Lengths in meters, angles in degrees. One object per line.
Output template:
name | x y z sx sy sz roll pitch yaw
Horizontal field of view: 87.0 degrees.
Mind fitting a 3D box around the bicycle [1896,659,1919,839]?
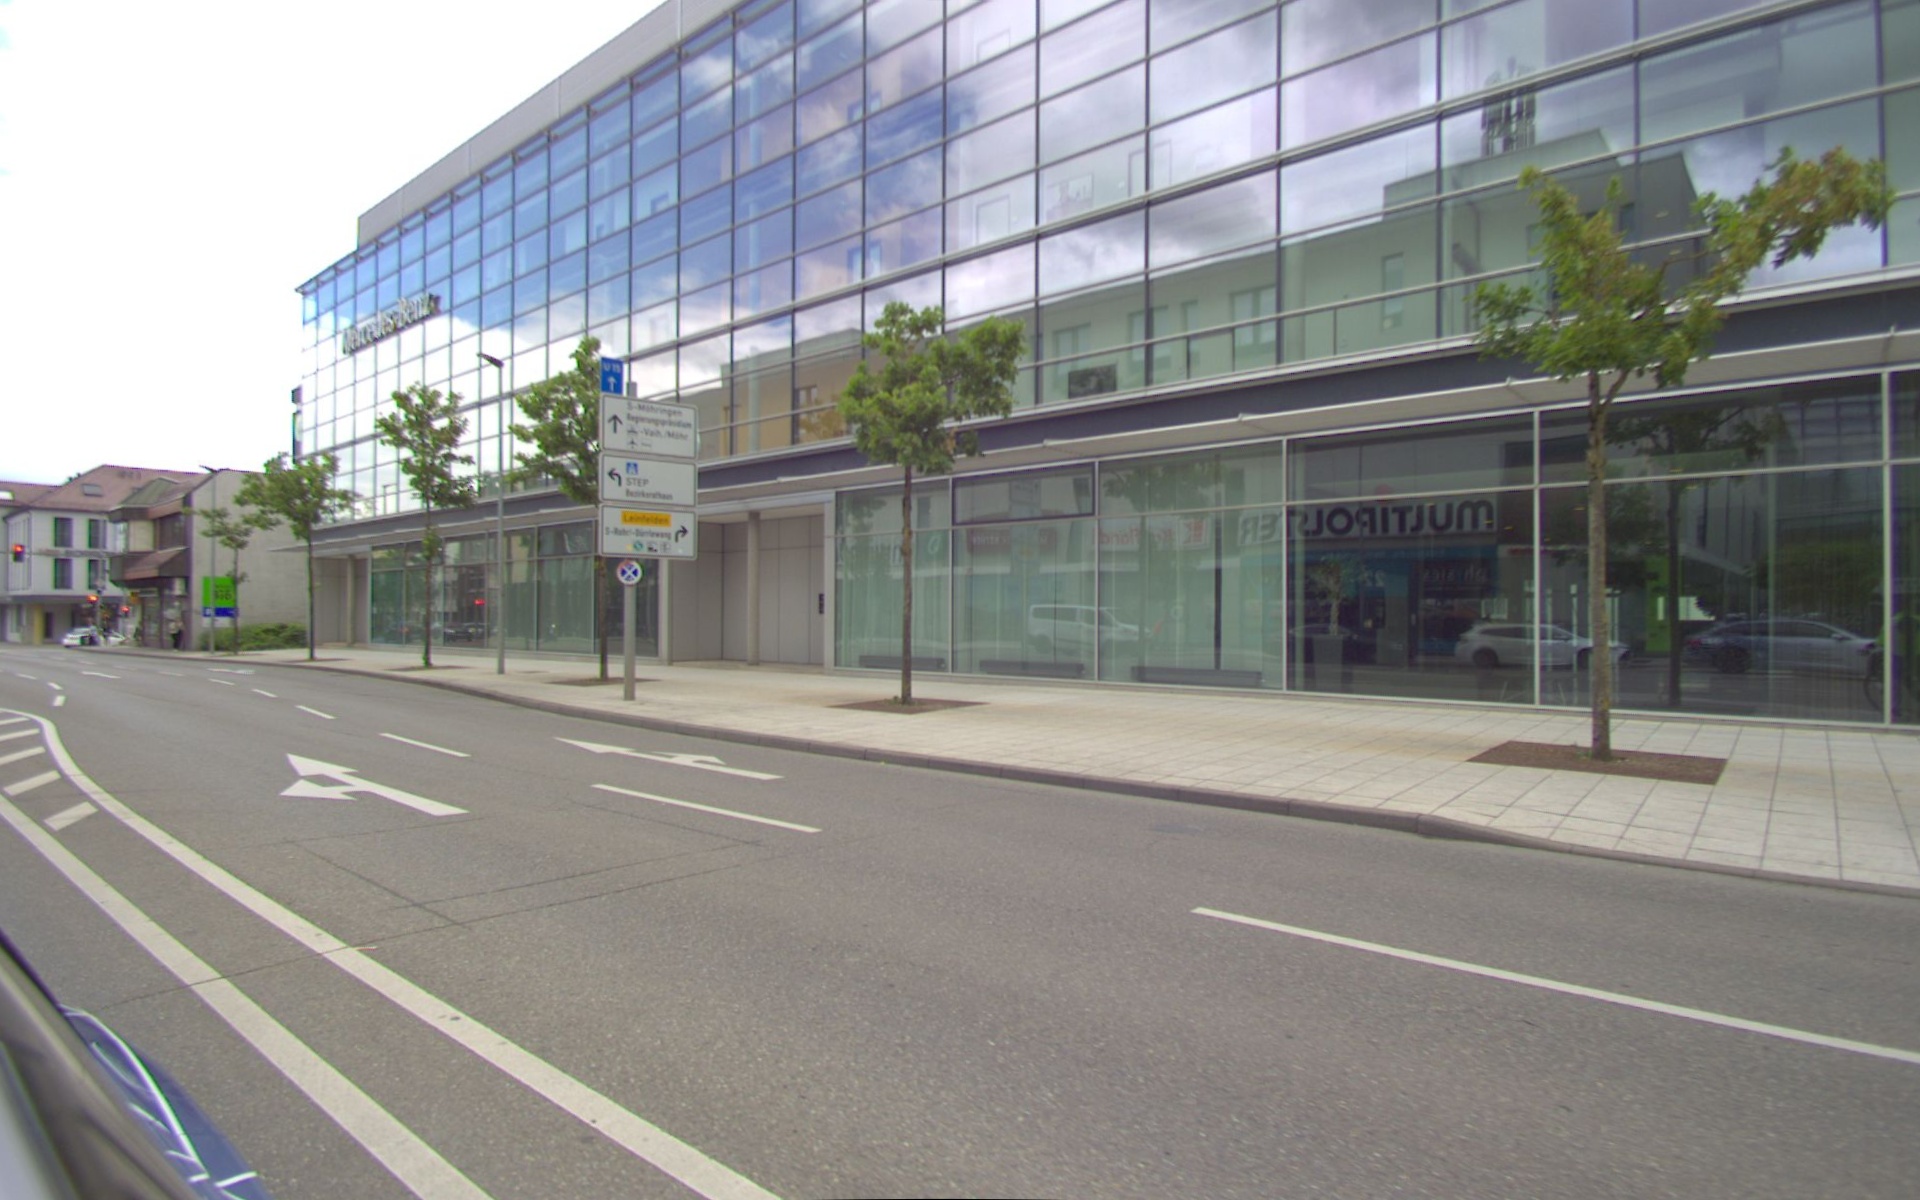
bicycle | 7.546 0.993 6.745 2.000 1.215 0.748 -2 0 -5

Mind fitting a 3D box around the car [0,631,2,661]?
car | -48.852 2.266 49.819 3.992 1.478 1.781 -1 -2 36

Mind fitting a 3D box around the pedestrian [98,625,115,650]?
pedestrian | -53.415 2.330 63.360 0.577 1.527 0.552 0 -2 8

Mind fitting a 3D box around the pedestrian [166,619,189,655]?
pedestrian | -36.790 1.735 47.569 0.693 1.636 0.693 -2 -2 40

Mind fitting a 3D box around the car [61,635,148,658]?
car | -56.952 3.055 67.444 1.929 1.478 3.963 -1 -2 27
